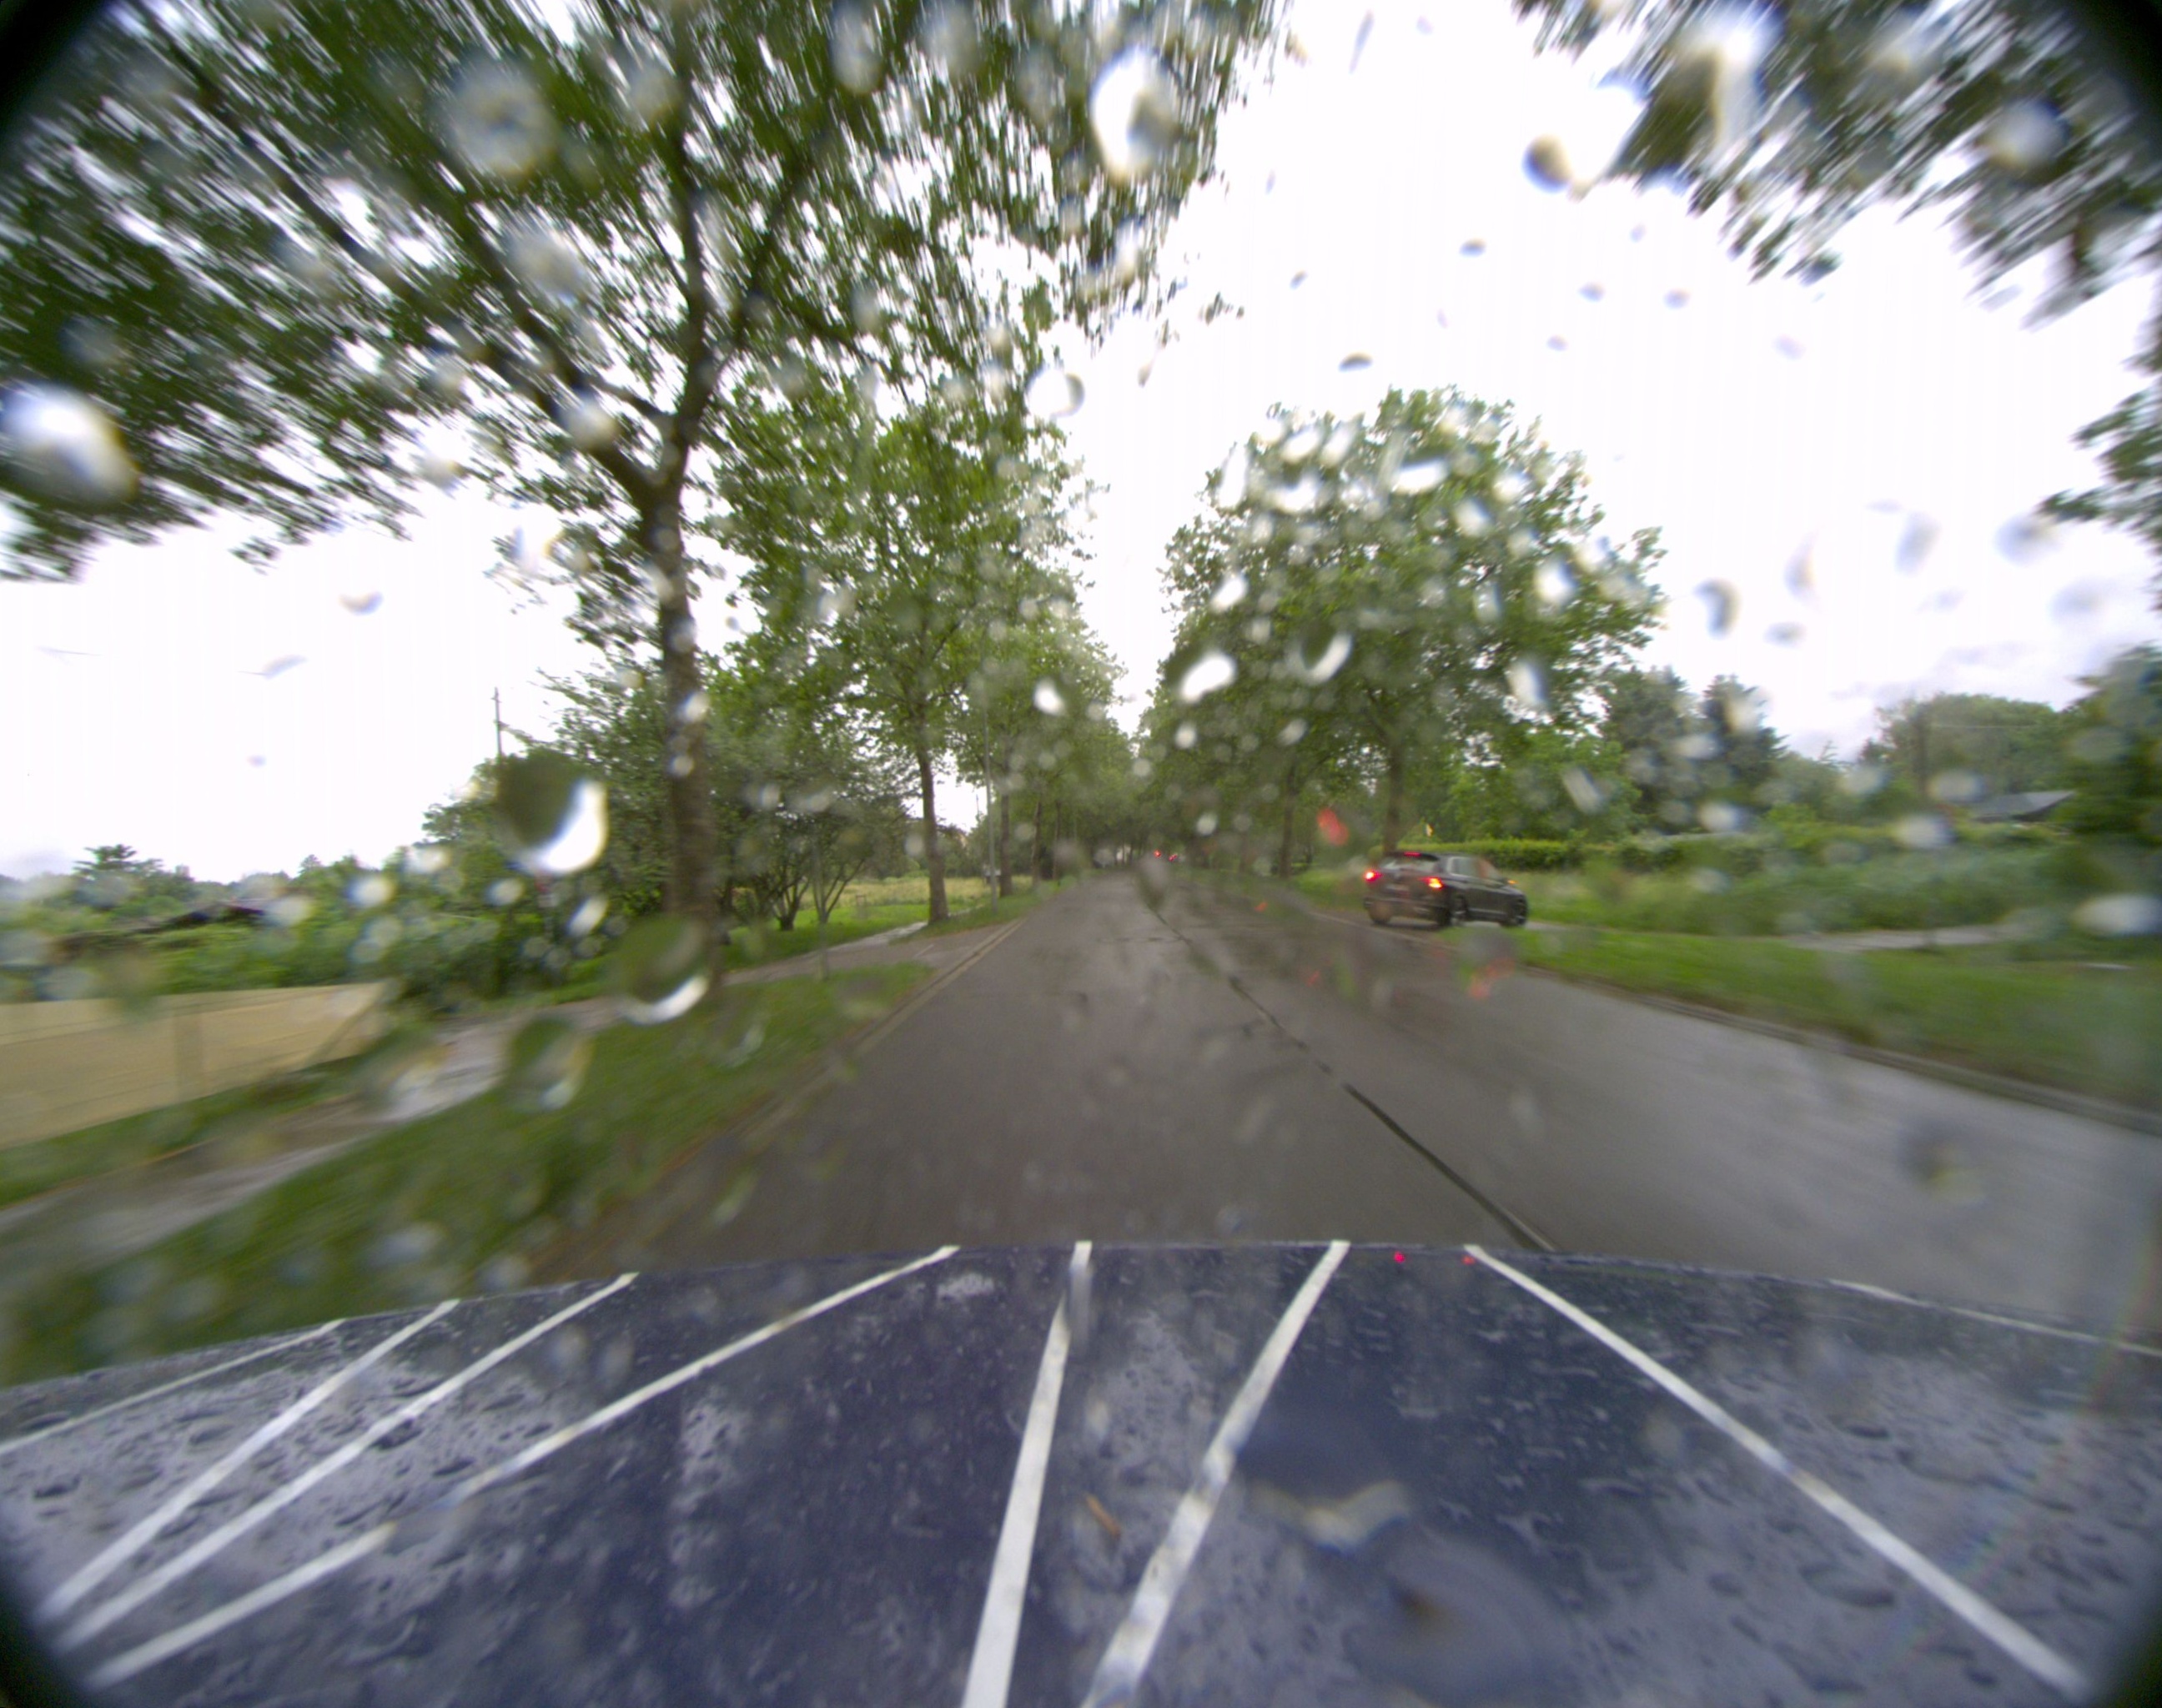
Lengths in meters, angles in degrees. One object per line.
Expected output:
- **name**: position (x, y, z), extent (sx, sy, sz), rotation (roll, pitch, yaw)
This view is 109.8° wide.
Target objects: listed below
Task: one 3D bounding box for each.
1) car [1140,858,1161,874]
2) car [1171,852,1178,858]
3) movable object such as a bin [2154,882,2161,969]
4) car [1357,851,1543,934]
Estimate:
- **car**: position (6.593, 1.103, 72.689), extent (1.735, 1.415, 4.225), rotation (-1, 0, 1)
- **car**: position (26.611, 0.232, 216.413), extent (1.866, 1.739, 5.017), rotation (-1, 0, 5)
- **movable object such as a bin**: position (18.166, 1.151, 12.020), extent (0.965, 1.414, 0.966), rotation (-3, 0, 0)
- **car**: position (8.008, 0.866, 16.344), extent (4.320, 1.578, 1.733), rotation (4, -4, -35)
